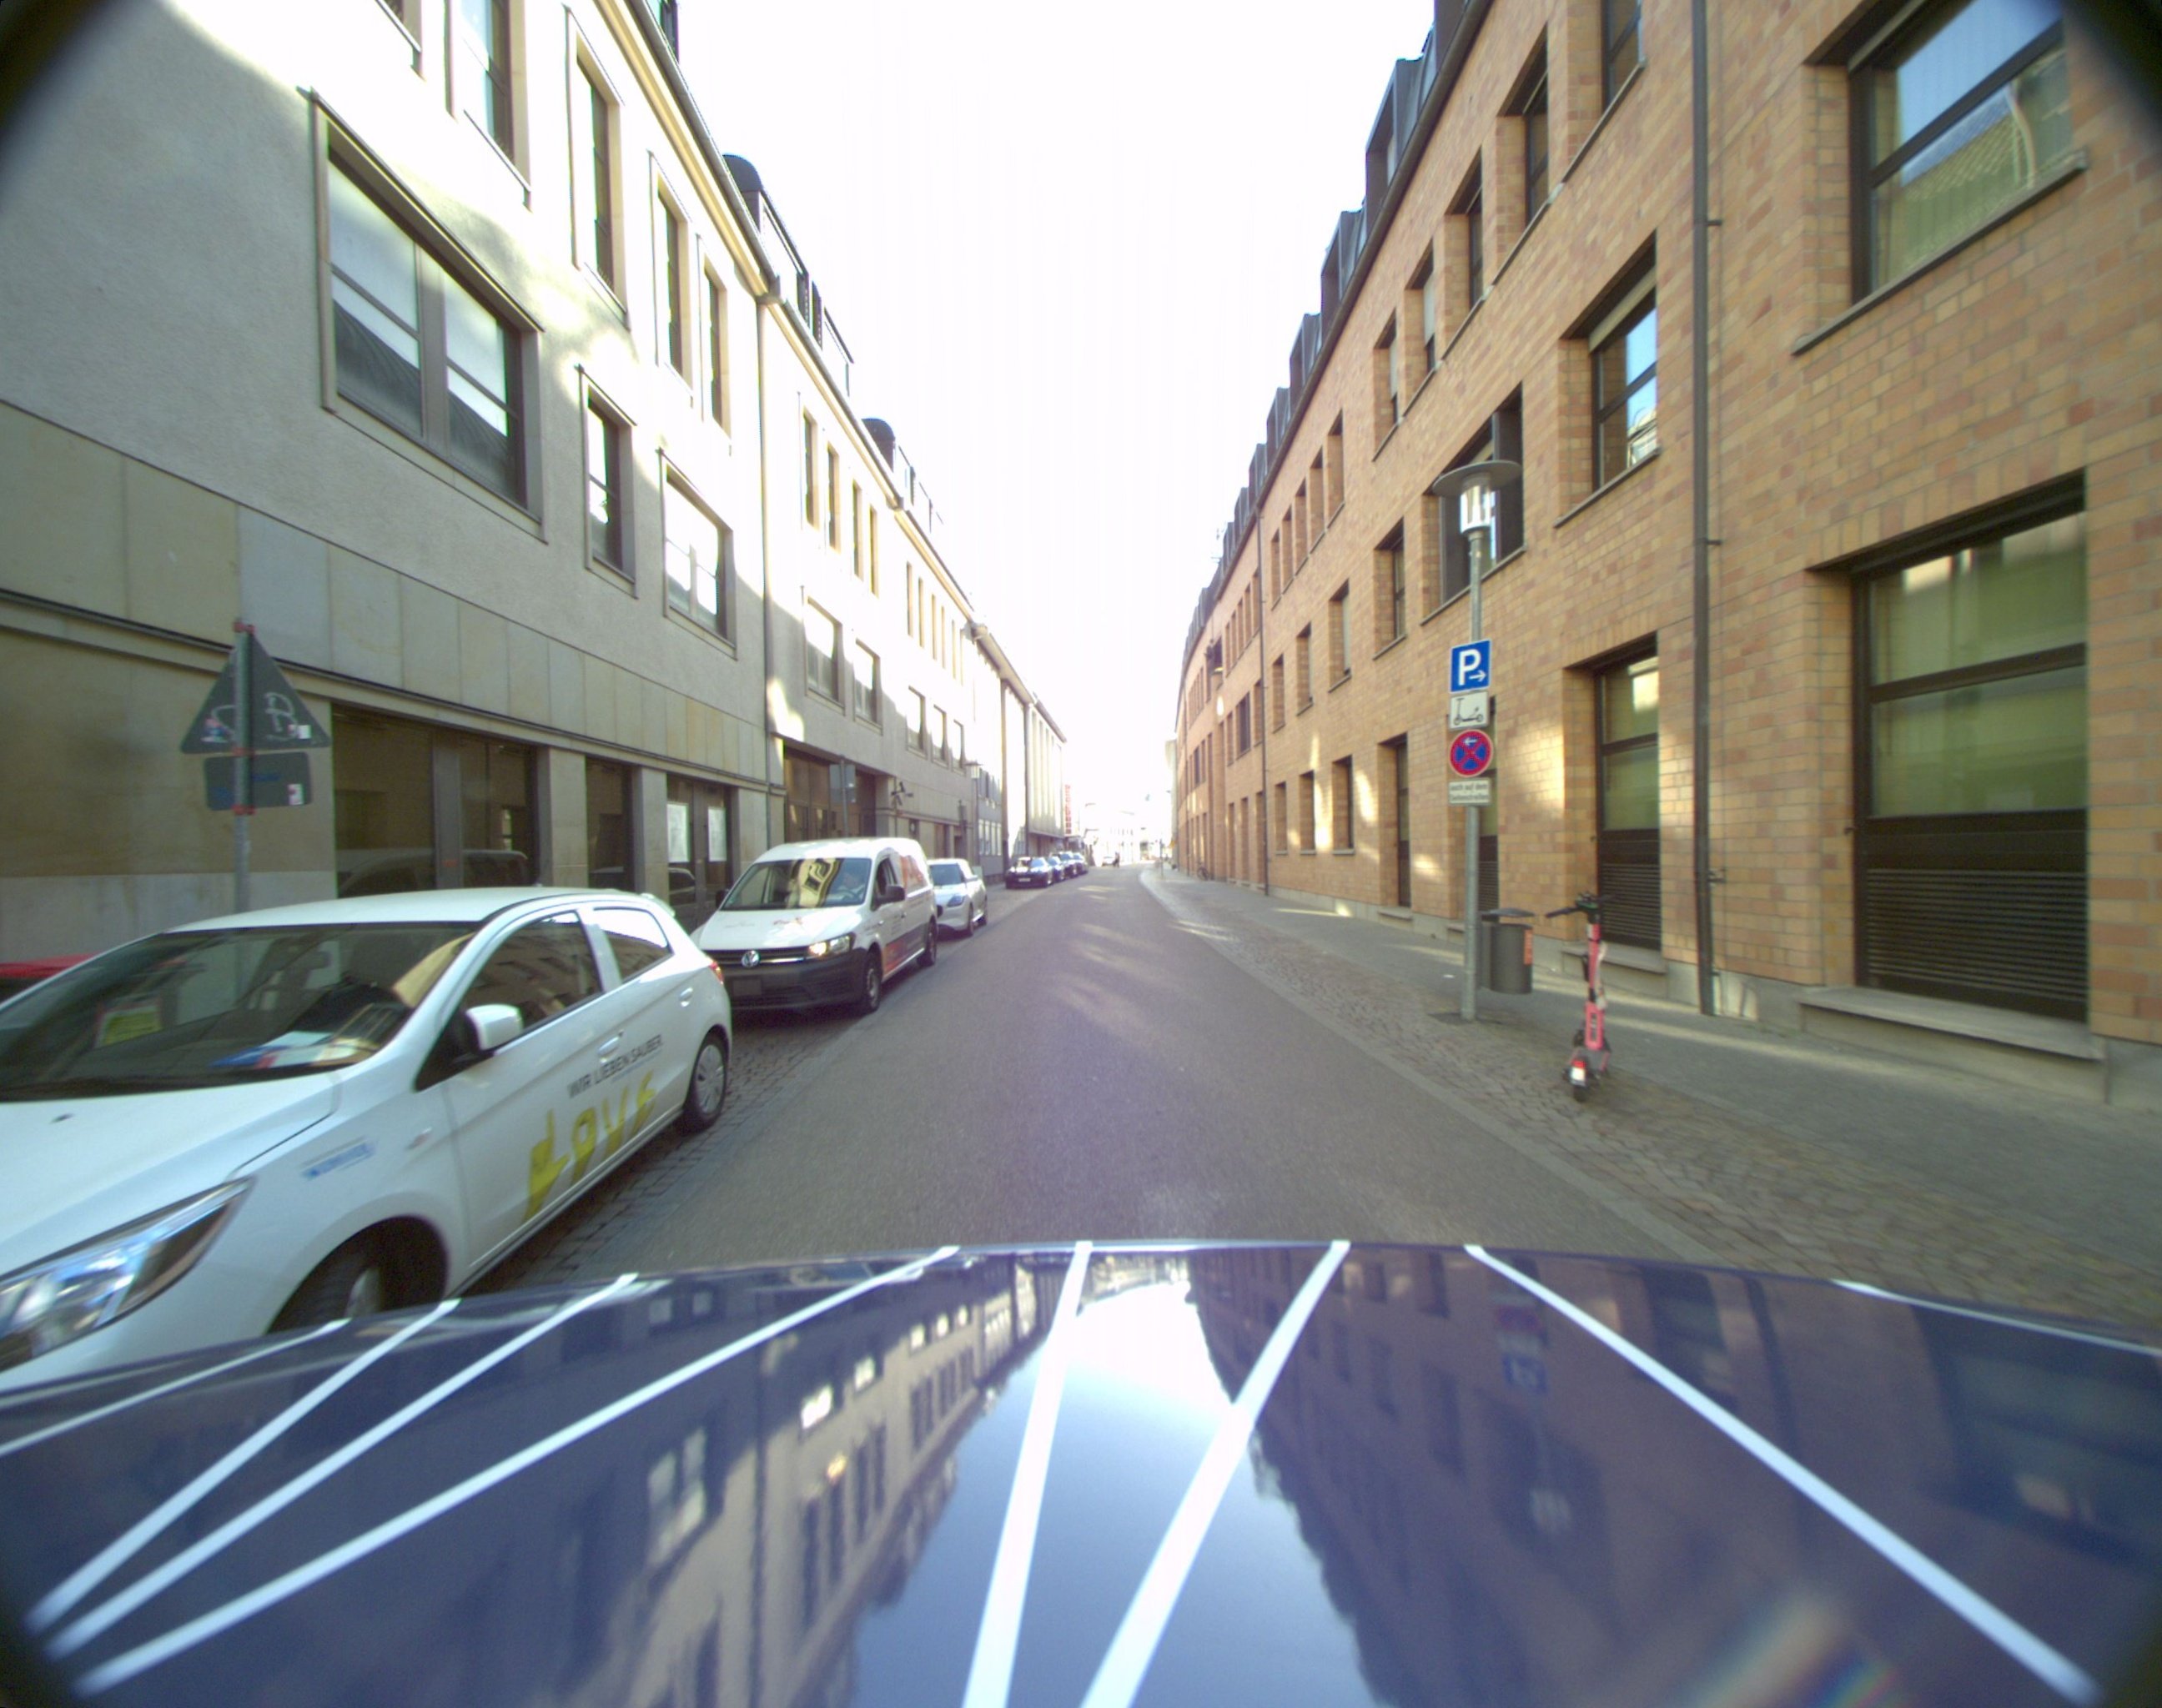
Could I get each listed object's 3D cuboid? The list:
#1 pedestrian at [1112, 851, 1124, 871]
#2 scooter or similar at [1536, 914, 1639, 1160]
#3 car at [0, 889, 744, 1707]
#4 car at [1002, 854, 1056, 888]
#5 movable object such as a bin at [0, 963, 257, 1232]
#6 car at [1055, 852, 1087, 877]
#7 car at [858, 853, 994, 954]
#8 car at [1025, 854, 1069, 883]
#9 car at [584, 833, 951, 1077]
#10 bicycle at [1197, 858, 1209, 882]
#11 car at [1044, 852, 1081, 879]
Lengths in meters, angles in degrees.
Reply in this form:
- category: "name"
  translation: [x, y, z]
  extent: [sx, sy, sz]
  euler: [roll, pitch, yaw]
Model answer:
- category: "pedestrian"
  translation: [3.939, 0.743, 80.572]
  extent: [0.945, 2.002, 0.898]
  euler: [-2, 1, -17]
- category: "scooter or similar"
  translation: [3.127, 1.022, 4.700]
  extent: [0.467, 1.217, 1.303]
  euler: [0, 0, 34]
- category: "car"
  translation: [-2.899, 1.023, 2.853]
  extent: [1.736, 1.539, 3.998]
  euler: [-2, 0, -5]
- category: "car"
  translation: [-2.364, 0.768, 35.846]
  extent: [1.965, 1.400, 4.197]
  euler: [-3, 1, 3]
- category: "movable object such as a bin"
  translation: [-5.071, 1.174, 3.875]
  extent: [0.688, 1.079, 0.929]
  euler: [-2, 0, -4]
- category: "car"
  translation: [-0.676, 0.722, 55.451]
  extent: [1.965, 1.637, 4.197]
  euler: [-3, 1, 3]
- category: "car"
  translation: [-2.921, 0.865, 15.182]
  extent: [1.776, 1.574, 3.856]
  euler: [-5, 0, 0]
- category: "car"
  translation: [-1.842, 0.745, 42.311]
  extent: [1.965, 1.400, 4.197]
  euler: [-3, 1, 3]
- category: "car"
  translation: [-3.033, 0.823, 8.873]
  extent: [1.947, 1.850, 5.194]
  euler: [-5, 0, 0]
- category: "bicycle"
  translation: [6.071, 0.796, 37.900]
  extent: [0.431, 1.137, 1.690]
  euler: [-2, 0, 4]
- category: "car"
  translation: [-1.145, 0.676, 48.312]
  extent: [1.965, 1.527, 4.197]
  euler: [-3, 1, 3]
